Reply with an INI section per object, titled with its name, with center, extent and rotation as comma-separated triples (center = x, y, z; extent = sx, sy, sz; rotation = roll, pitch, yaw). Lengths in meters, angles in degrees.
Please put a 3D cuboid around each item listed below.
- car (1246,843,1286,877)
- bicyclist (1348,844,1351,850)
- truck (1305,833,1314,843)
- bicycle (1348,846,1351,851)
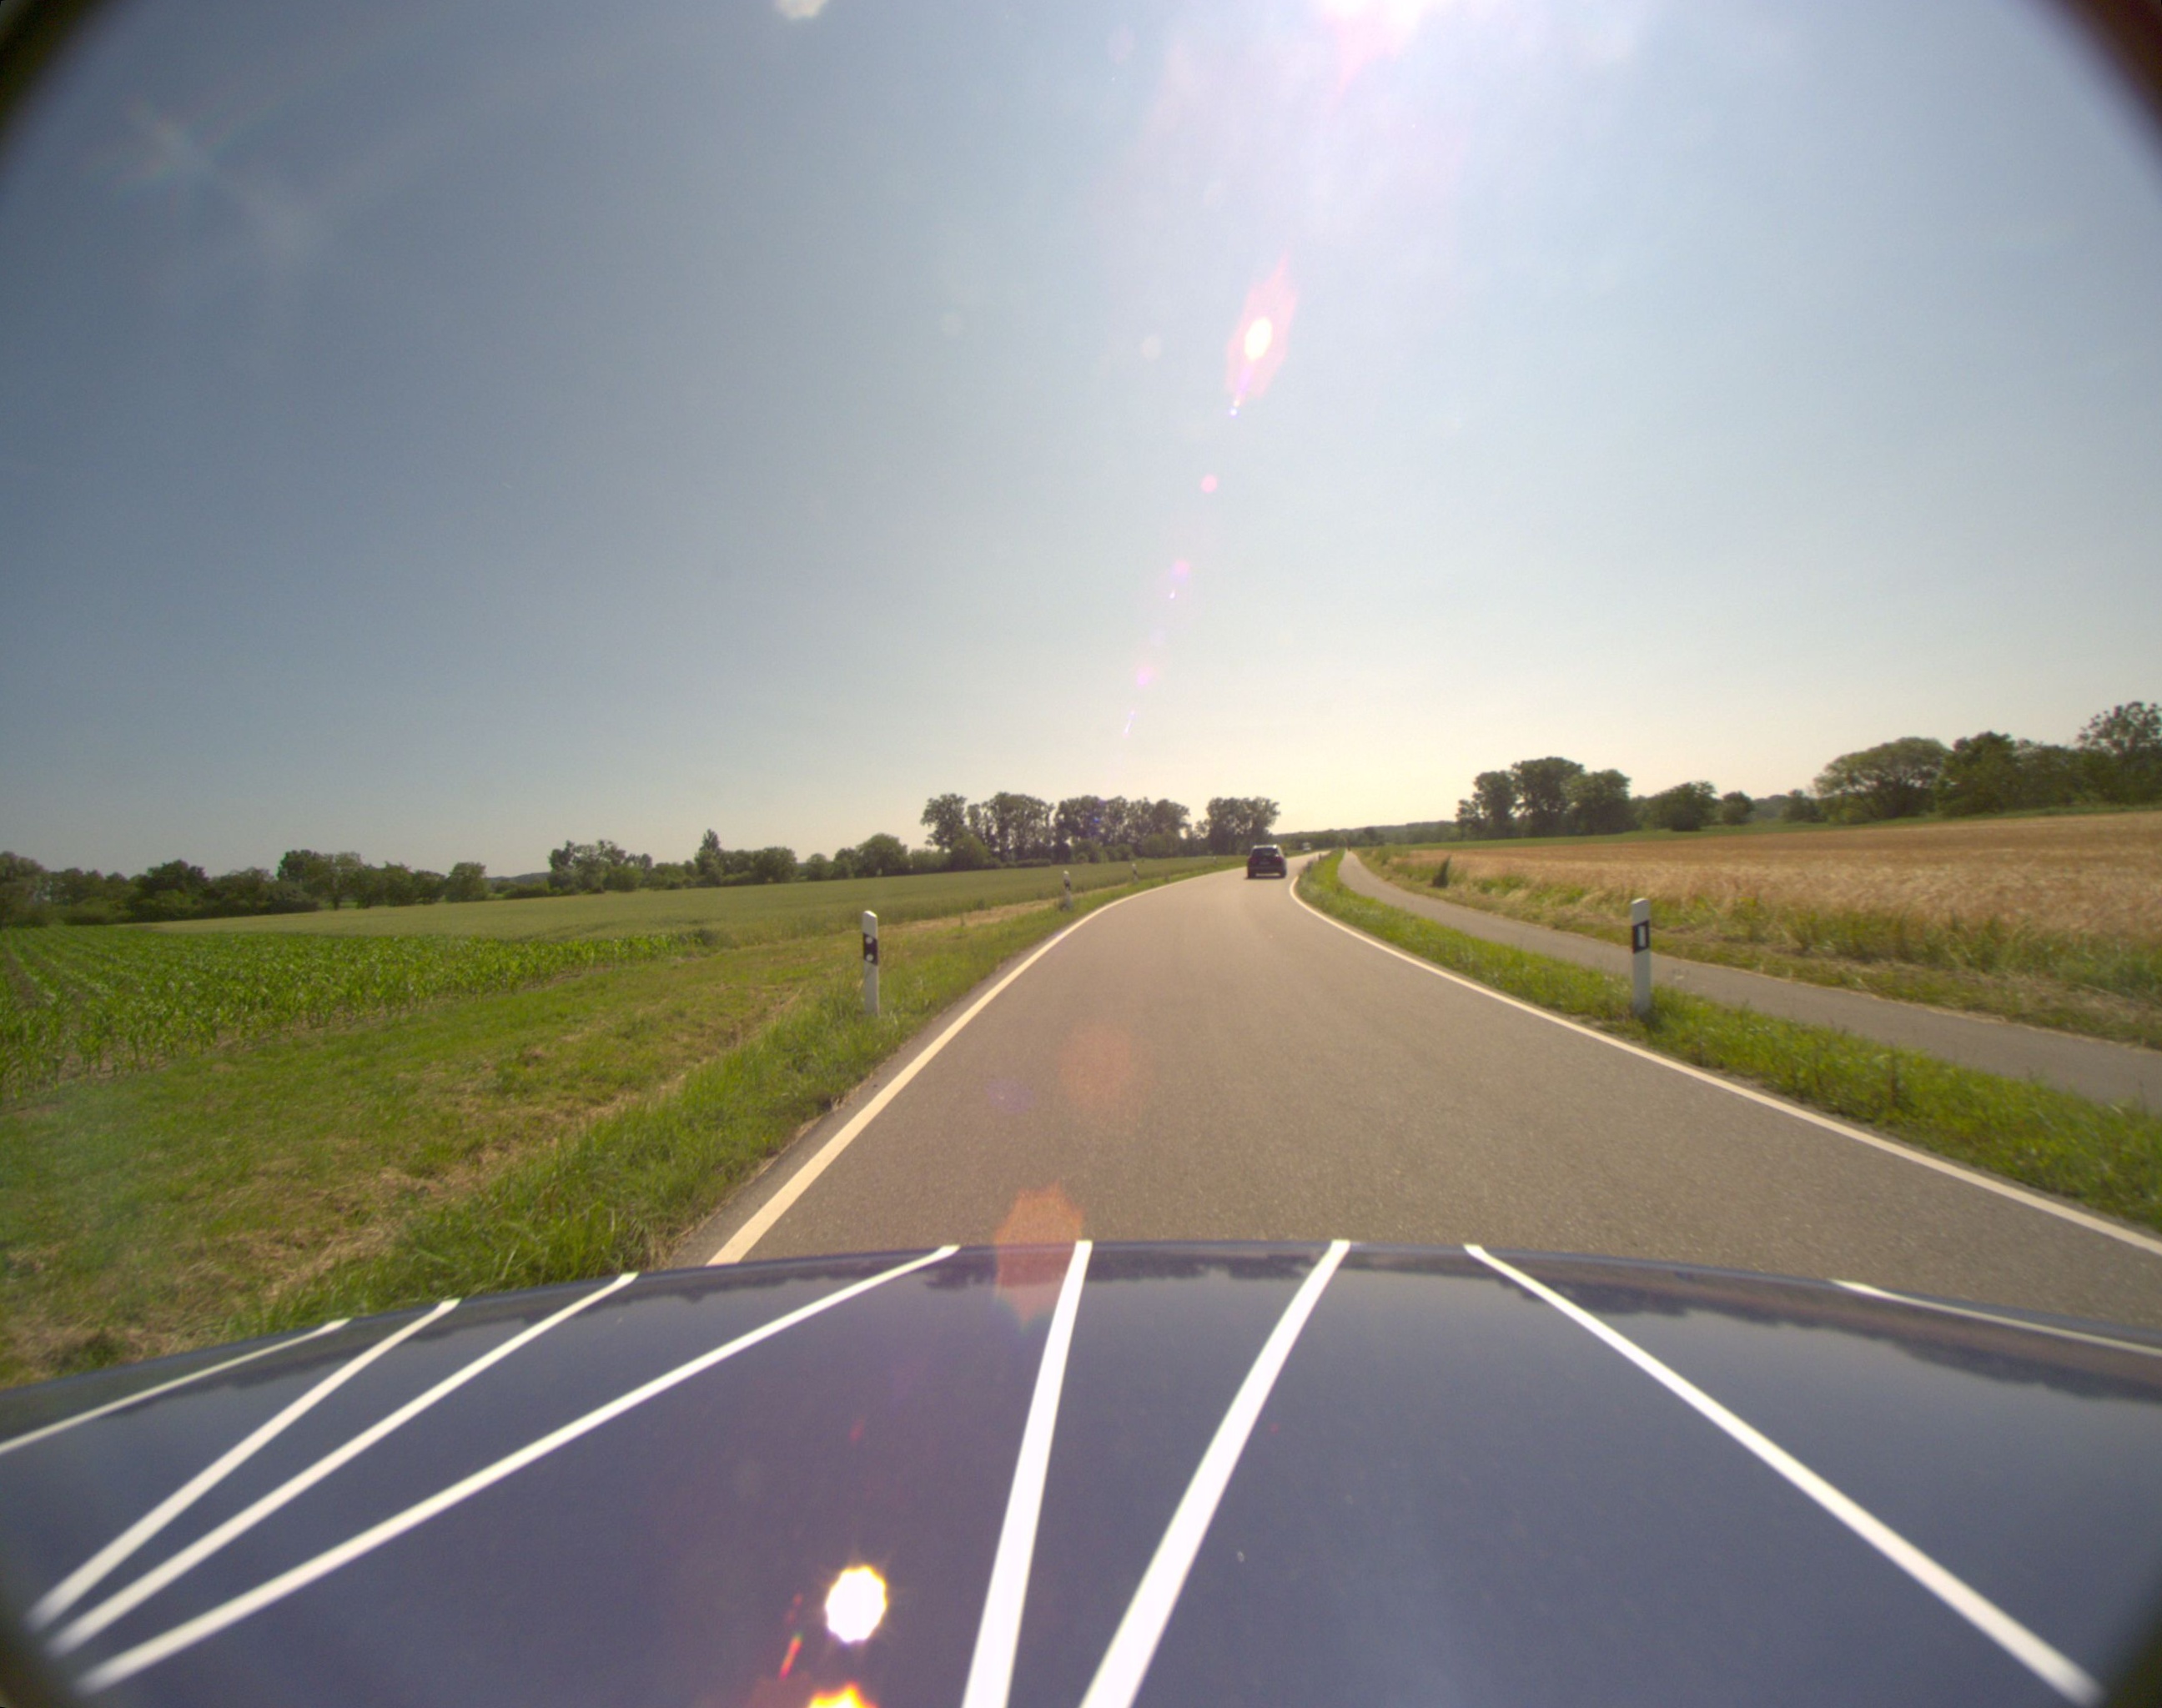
[car]
center = 9.931, 0.311, 40.642
extent = 1.889, 1.705, 4.018
rotation = -1, 0, 16
[bicyclist]
center = 63.408, -1.653, 179.385
extent = 0.742, 1.487, 1.004
rotation = -3, 0, 20
[truck]
center = 68.287, -4.826, 226.910
extent = 1.996, 2.821, 5.224
rotation = -3, 0, 20
[bicycle]
center = 63.434, -1.356, 179.381
extent = 0.742, 1.165, 2.085
rotation = -3, 0, 20
